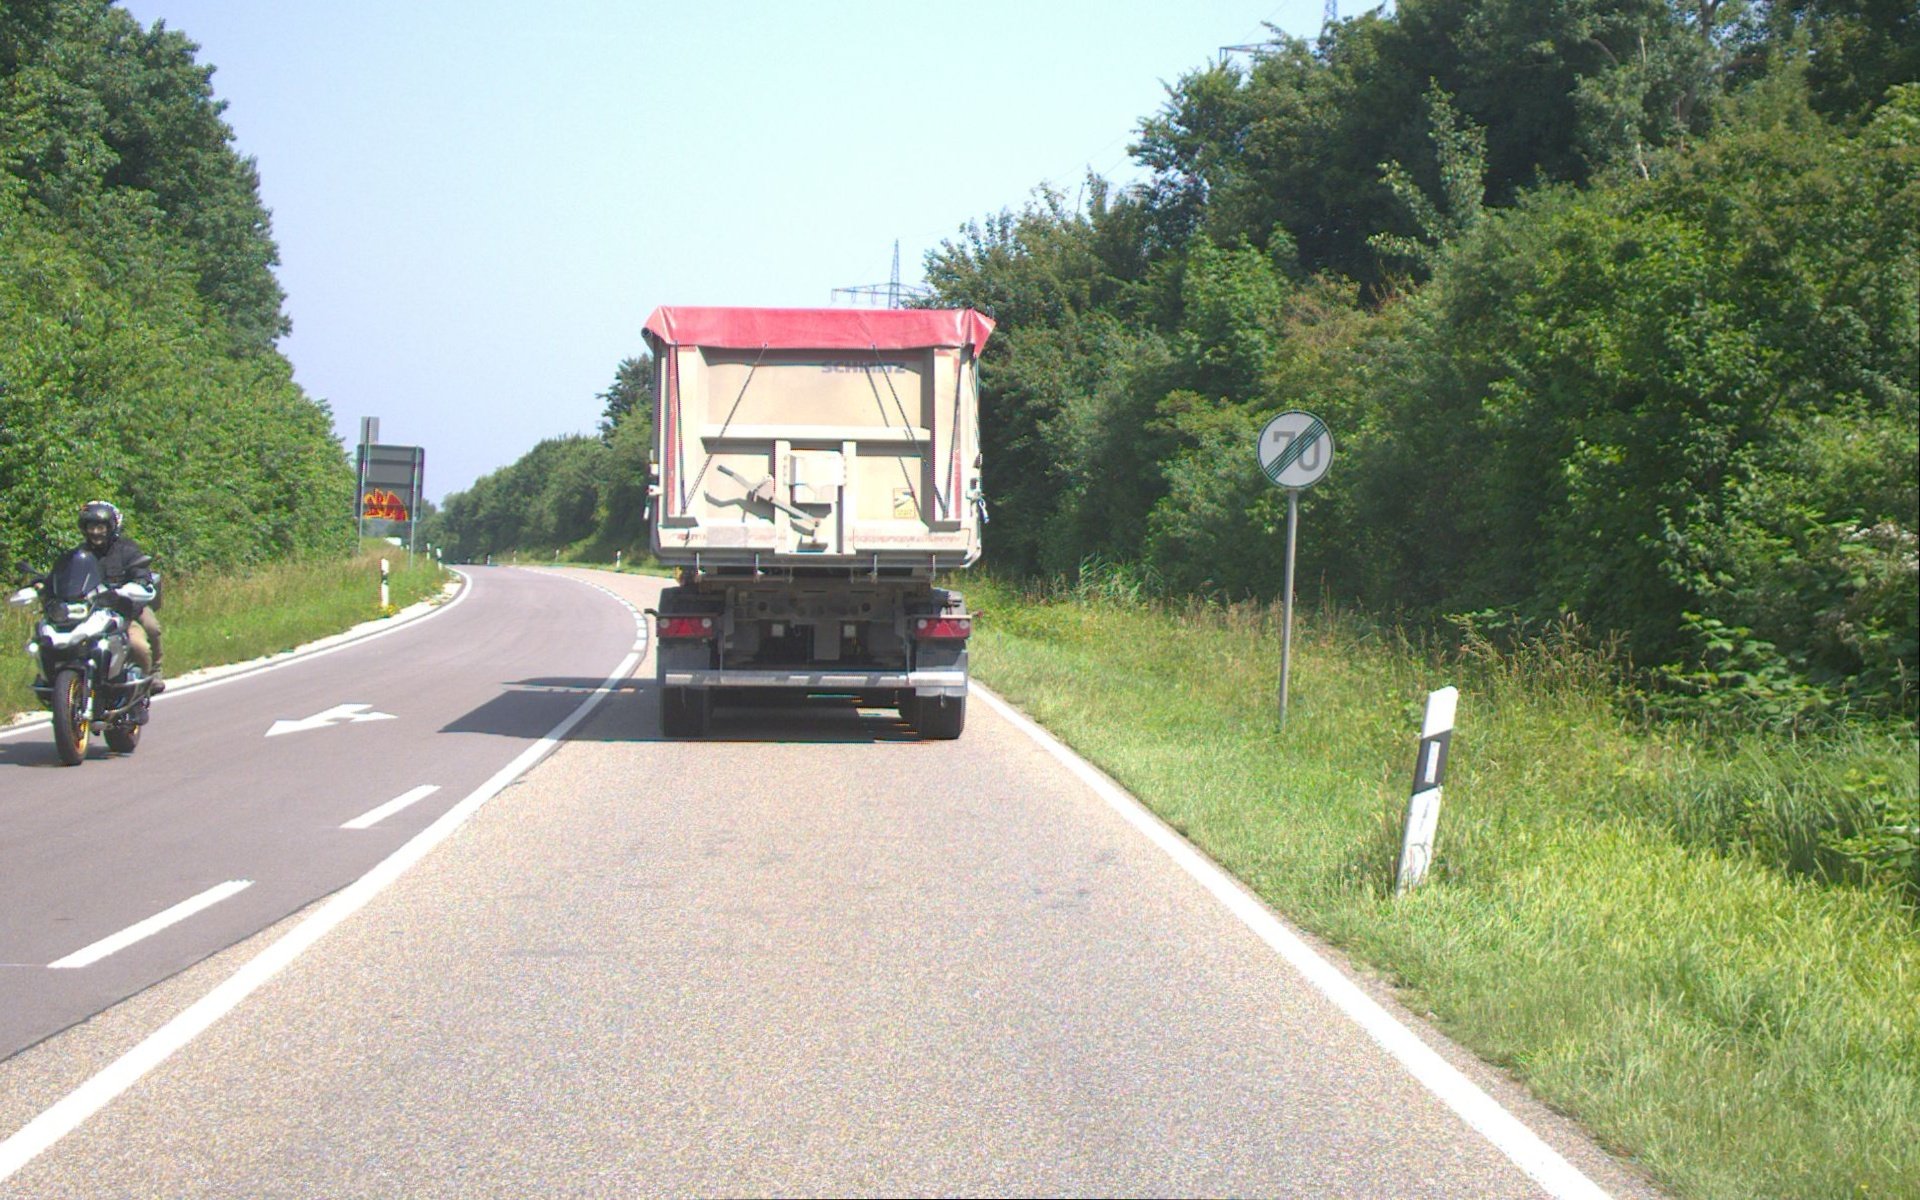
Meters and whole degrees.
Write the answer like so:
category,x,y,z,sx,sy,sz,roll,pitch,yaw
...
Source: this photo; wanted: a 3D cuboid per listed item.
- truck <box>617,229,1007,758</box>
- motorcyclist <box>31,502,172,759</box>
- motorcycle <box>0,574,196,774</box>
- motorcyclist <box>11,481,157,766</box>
category,x,y,z,sx,sy,sz,roll,pitch,yaw
truck,-1.250,-0.920,31.921,2.893,3.949,11.934,1,1,-1
motorcyclist,-5.943,0.205,23.821,0.830,1.746,0.623,1,1,-4
motorcycle,-5.920,0.467,23.457,0.946,1.246,2.682,1,1,-3
motorcyclist,-5.875,0.149,23.095,0.820,1.875,0.657,1,1,-4
